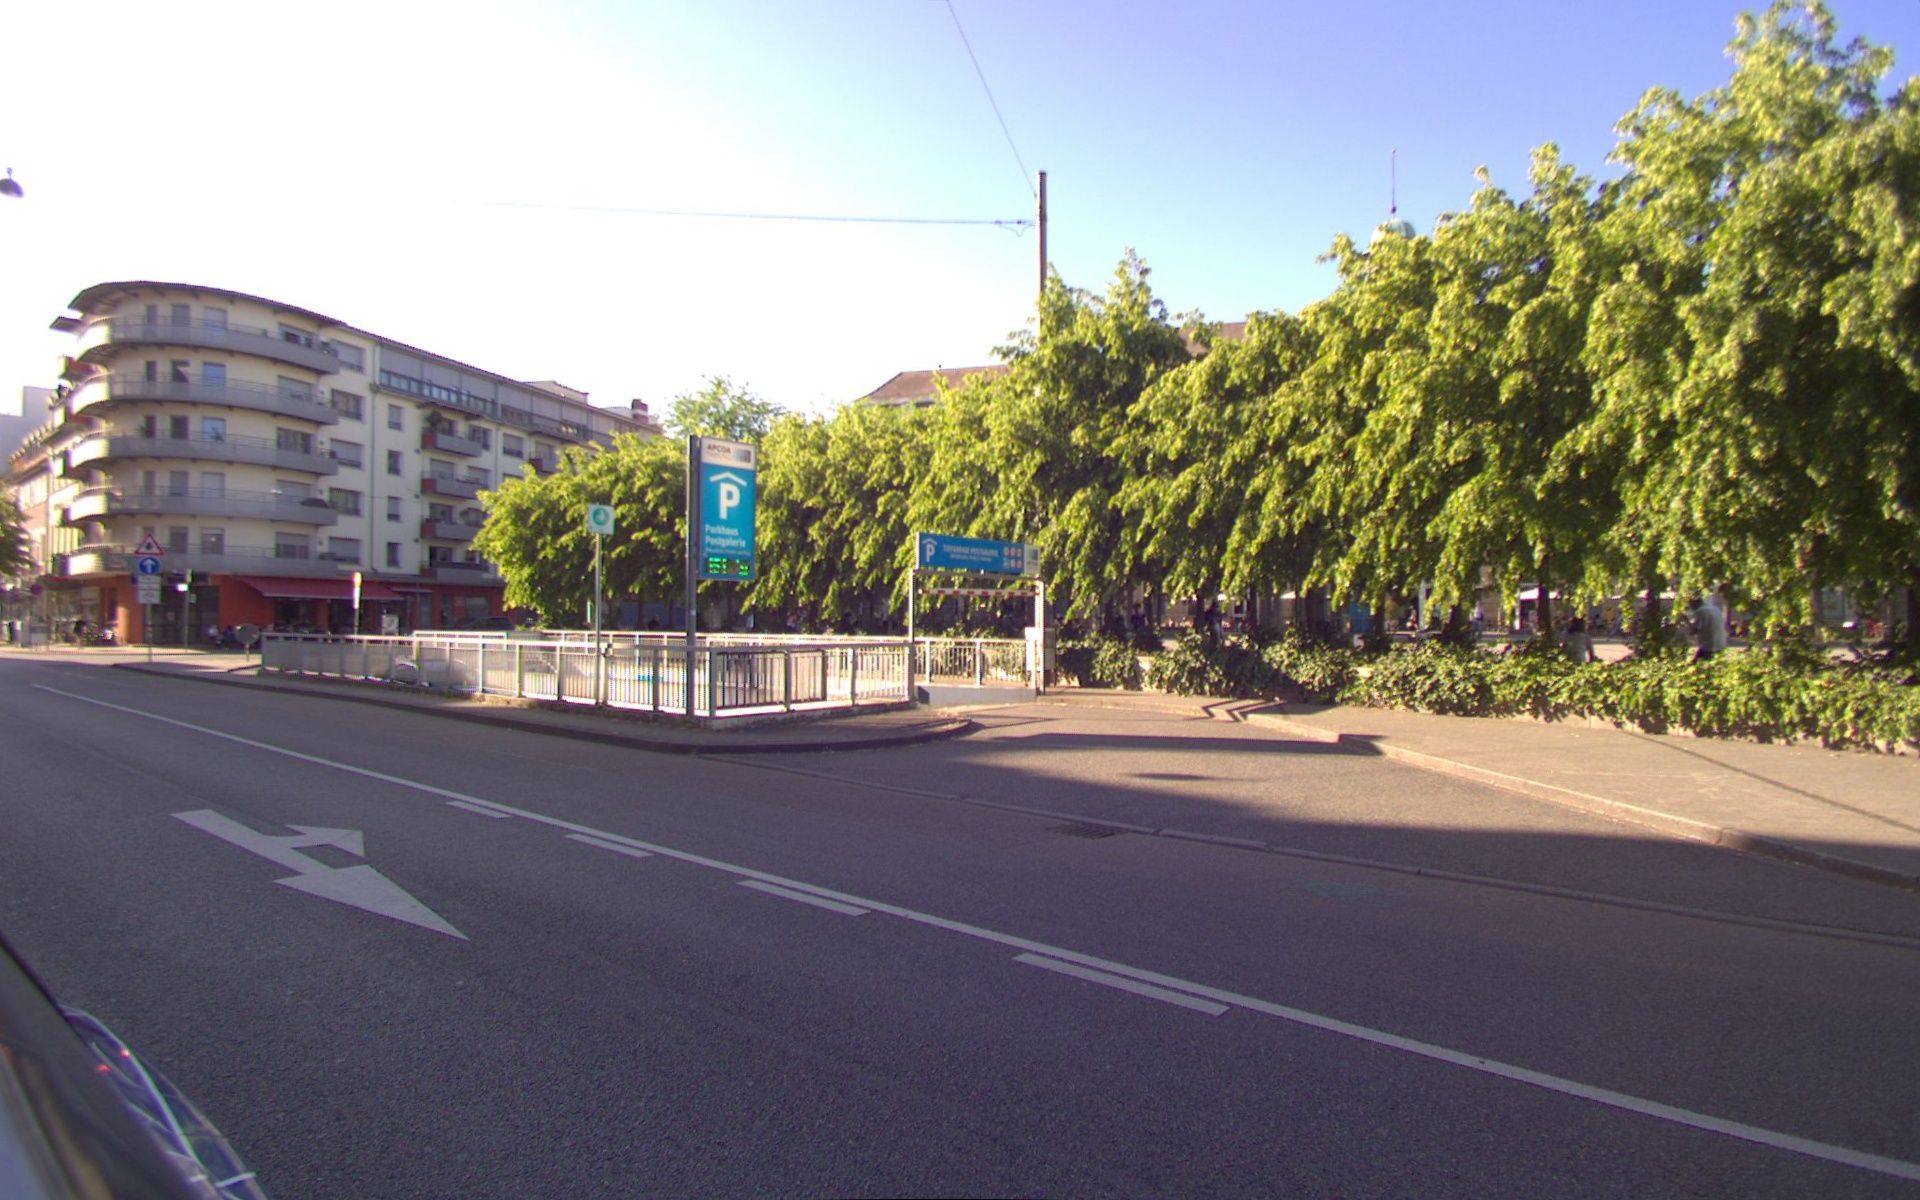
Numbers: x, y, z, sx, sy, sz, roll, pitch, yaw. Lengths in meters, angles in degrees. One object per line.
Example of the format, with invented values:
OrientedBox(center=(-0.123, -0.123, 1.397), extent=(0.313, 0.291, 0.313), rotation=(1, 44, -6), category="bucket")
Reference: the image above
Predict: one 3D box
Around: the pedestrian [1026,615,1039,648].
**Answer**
OrientedBox(center=(4.004, 1.760, 56.150), extent=(0.578, 1.806, 0.597), rotation=(-1, 0, 20), category="pedestrian")

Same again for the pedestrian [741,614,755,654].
OrientedBox(center=(-9.807, 1.566, 46.794), extent=(0.574, 1.806, 0.602), rotation=(0, 0, -5), category="pedestrian")

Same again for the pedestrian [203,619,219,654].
OrientedBox(center=(-37.433, 1.813, 50.579), extent=(0.642, 1.721, 0.568), rotation=(-2, -2, 43), category="pedestrian")

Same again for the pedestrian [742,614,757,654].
OrientedBox(center=(-9.590, 1.561, 46.156), extent=(0.574, 1.806, 0.602), rotation=(0, 0, -5), category="pedestrian")

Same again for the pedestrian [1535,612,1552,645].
OrientedBox(center=(32.481, 1.603, 56.355), extent=(0.593, 1.806, 0.583), rotation=(-1, 0, 0), category="pedestrian")

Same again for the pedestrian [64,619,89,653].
OrientedBox(center=(-42.641, 1.723, 48.843), extent=(0.695, 1.627, 0.765), rotation=(-1, -1, 37), category="pedestrian")

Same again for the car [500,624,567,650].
OrientedBox(center=(-28.886, 2.477, 68.613), extent=(1.938, 1.633, 4.272), rotation=(-1, -1, 16), category="car")

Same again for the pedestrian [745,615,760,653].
OrientedBox(center=(-9.791, 1.597, 47.694), extent=(0.574, 1.806, 0.601), rotation=(-1, 0, 0), category="pedestrian")

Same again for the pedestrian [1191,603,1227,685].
OrientedBox(center=(5.824, 1.016, 23.636), extent=(0.674, 1.870, 0.577), rotation=(-1, -1, 30), category="pedestrian")

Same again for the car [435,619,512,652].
OrientedBox(center=(-30.419, 2.201, 63.484), extent=(1.938, 1.927, 4.403), rotation=(-1, -1, 16), category="car")

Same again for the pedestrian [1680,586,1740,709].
OrientedBox(center=(11.649, 0.729, 15.738), extent=(0.597, 1.870, 0.578), rotation=(-1, 0, 22), category="pedestrian")

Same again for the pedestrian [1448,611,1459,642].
OrientedBox(center=(29.036, 1.550, 59.551), extent=(0.598, 1.806, 0.577), rotation=(-1, -1, 27), category="pedestrian")

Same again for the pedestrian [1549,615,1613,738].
OrientedBox(center=(9.785, 1.171, 15.949), extent=(0.732, 1.870, 0.574), rotation=(-1, -1, 44), category="pedestrian")

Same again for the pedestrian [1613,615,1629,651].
OrientedBox(center=(33.287, 1.656, 50.978), extent=(0.580, 1.806, 0.596), rotation=(-1, -1, 27), category="pedestrian")

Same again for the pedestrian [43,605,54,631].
OrientedBox(center=(-55.163, 1.089, 61.246), extent=(0.515, 1.541, 0.371), rotation=(-1, -1, 37), category="pedestrian")

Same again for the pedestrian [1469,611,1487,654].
OrientedBox(center=(21.564, 1.345, 42.121), extent=(0.599, 1.806, 0.576), rotation=(-1, -1, 31), category="pedestrian")

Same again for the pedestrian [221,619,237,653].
OrientedBox(center=(-36.818, 1.808, 50.979), extent=(0.642, 1.721, 0.568), rotation=(-2, -2, 43), category="pedestrian")
